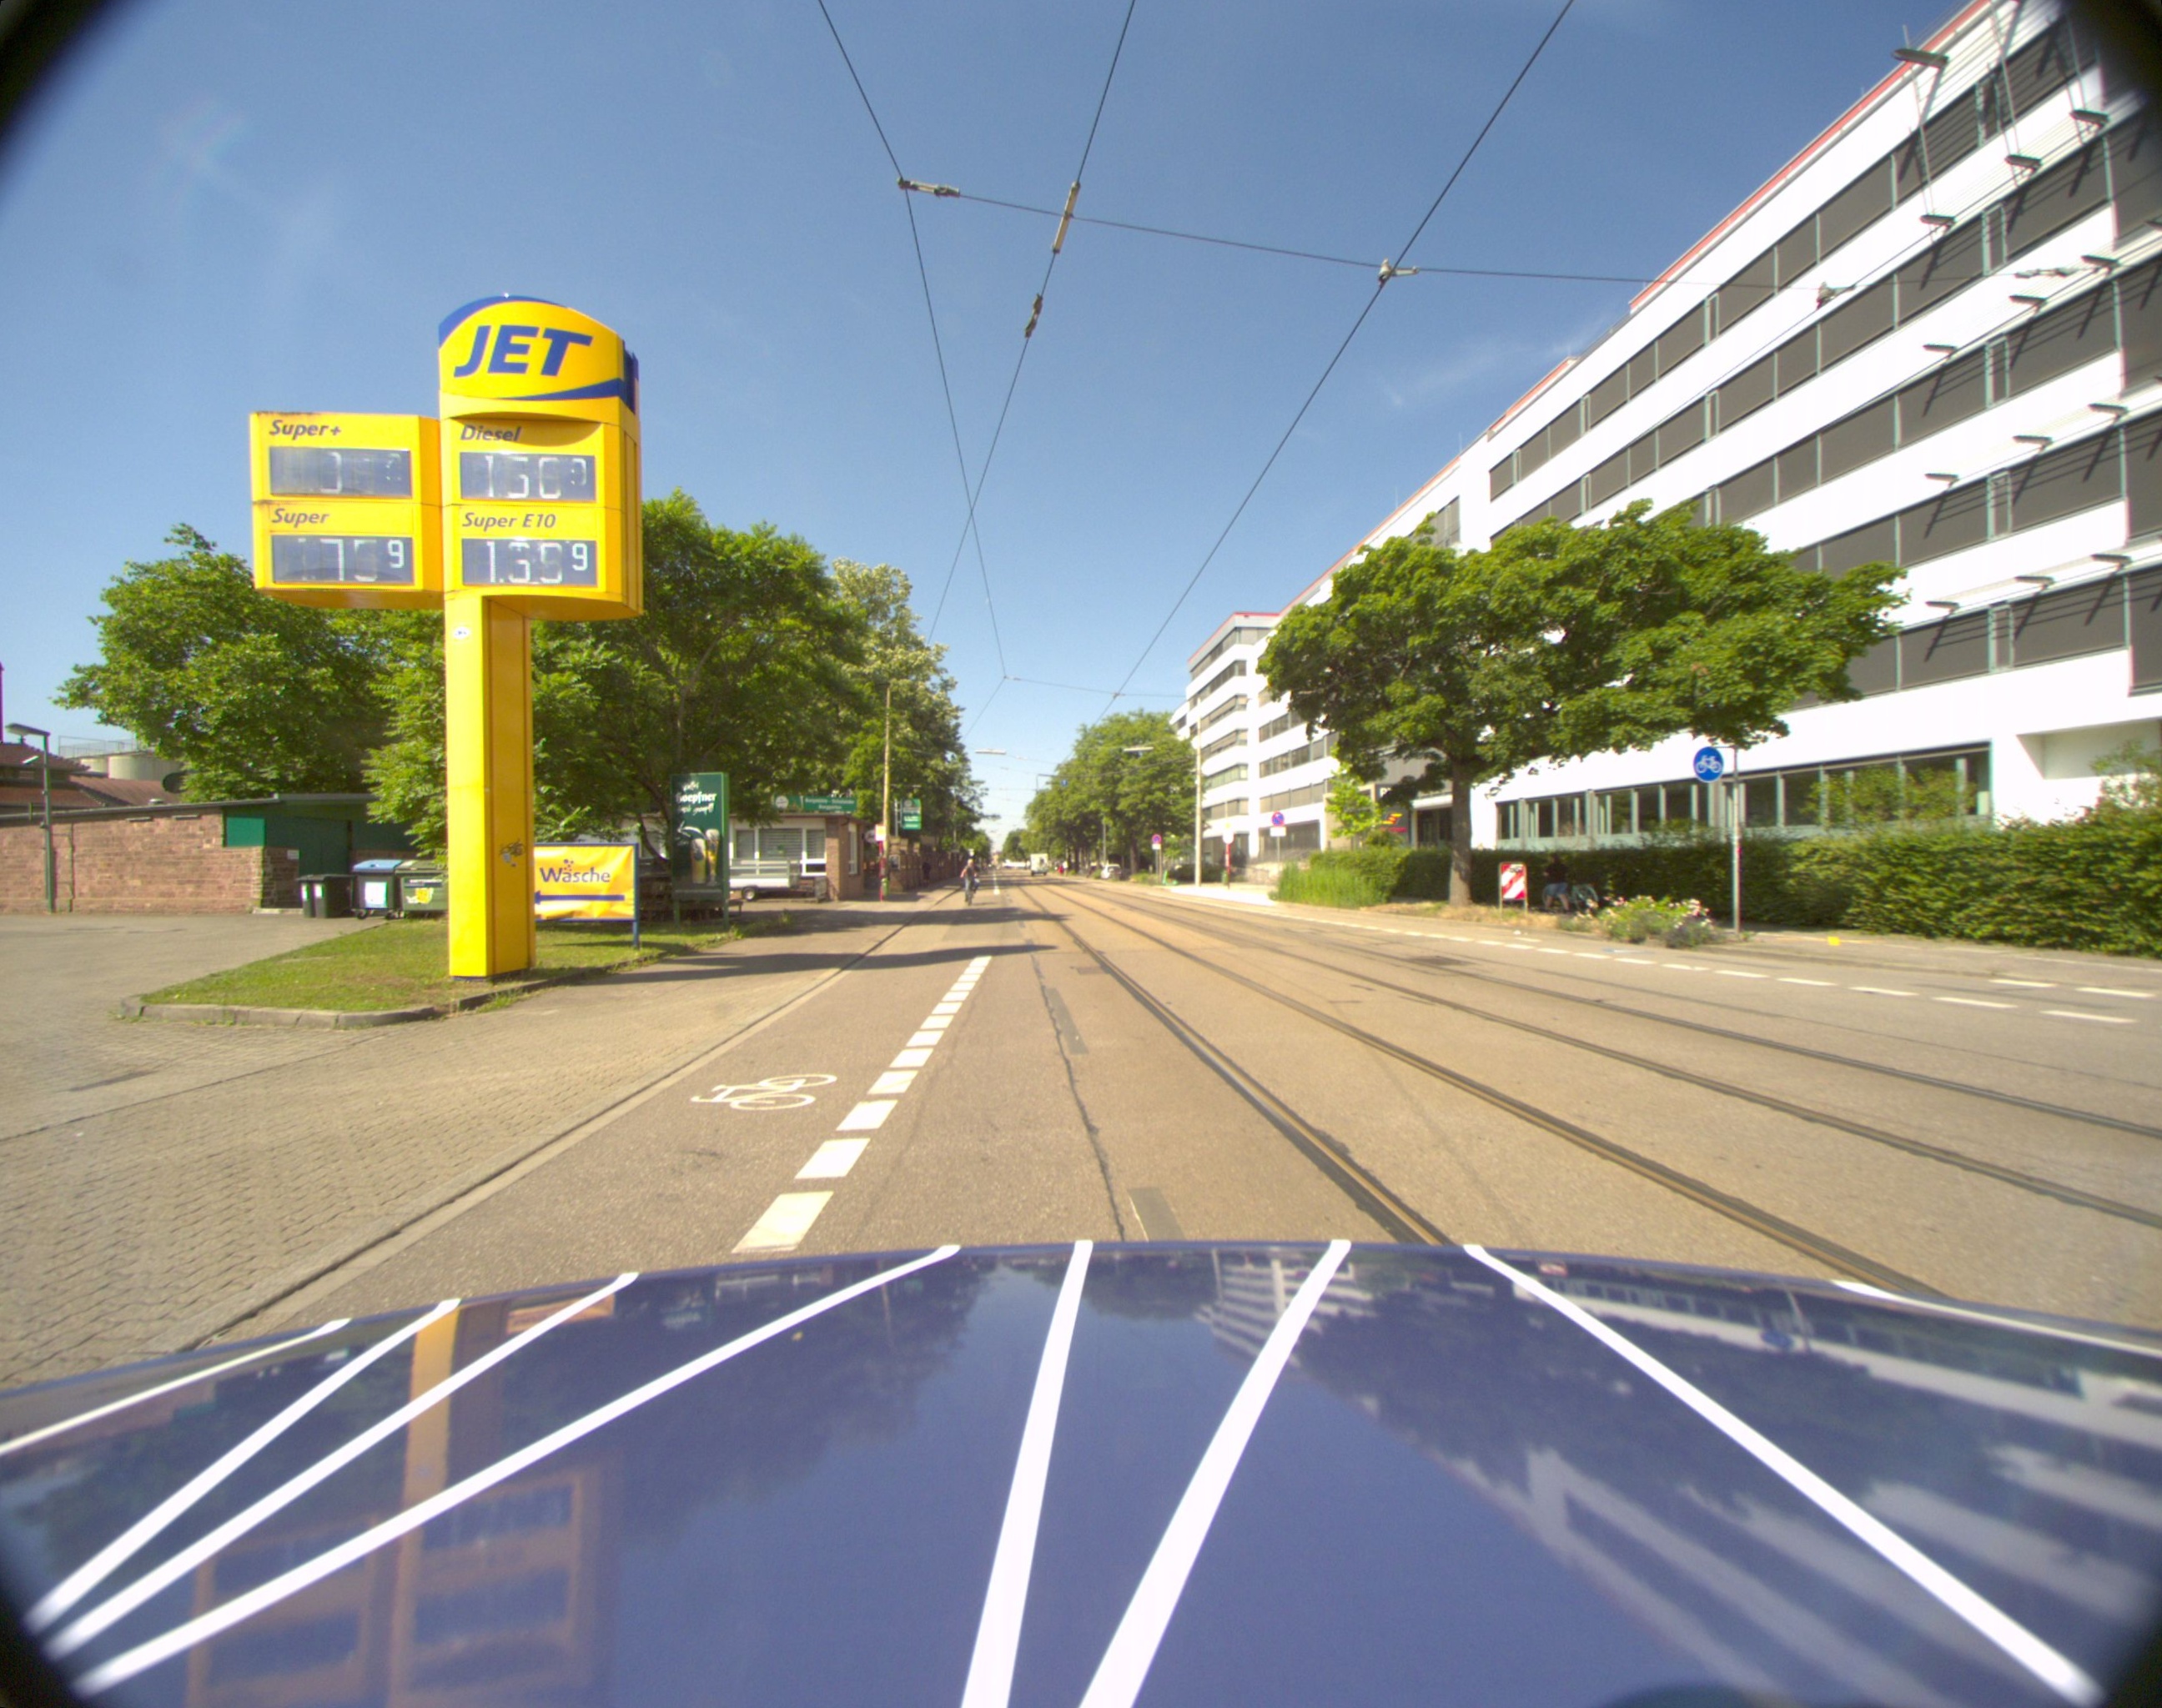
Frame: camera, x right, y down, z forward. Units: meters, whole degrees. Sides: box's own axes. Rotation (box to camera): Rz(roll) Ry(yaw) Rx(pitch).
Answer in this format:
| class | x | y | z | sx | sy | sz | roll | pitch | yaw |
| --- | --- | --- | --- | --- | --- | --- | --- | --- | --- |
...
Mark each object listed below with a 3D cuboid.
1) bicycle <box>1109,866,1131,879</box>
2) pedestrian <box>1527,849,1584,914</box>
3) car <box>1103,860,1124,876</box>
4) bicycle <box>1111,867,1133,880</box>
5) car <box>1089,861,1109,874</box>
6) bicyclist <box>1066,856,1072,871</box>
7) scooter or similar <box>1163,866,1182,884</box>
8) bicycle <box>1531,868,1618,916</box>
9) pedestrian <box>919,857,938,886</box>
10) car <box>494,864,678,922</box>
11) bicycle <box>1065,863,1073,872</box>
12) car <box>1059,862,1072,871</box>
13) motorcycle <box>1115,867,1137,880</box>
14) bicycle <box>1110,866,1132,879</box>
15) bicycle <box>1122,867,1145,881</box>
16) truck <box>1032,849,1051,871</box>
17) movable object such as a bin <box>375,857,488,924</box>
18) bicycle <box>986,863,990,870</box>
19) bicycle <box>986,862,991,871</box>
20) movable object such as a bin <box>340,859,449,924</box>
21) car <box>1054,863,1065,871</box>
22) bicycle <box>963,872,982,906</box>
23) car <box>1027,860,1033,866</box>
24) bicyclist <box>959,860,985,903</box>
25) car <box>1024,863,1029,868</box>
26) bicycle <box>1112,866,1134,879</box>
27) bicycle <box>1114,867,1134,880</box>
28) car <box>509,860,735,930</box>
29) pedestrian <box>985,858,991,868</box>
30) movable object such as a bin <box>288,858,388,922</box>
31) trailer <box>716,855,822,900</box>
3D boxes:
| class | x | y | z | sx | sy | sz | roll | pitch | yaw |
| --- | --- | --- | --- | --- | --- | --- | --- | --- | --- |
| bicycle | 3.537 | 1.648 | 69.346 | 1.910 | 1.162 | 0.818 | -1 | 0 | -6 |
| pedestrian | 11.775 | 0.674 | 18.882 | 0.688 | 1.554 | 0.987 | -2 | 0 | -10 |
| car | 3.100 | 1.321 | 73.291 | 1.634 | 1.463 | 3.629 | 0 | 0 | -5 |
| bicycle | 3.687 | 1.701 | 68.030 | 1.854 | 1.125 | 0.680 | -1 | 0 | -6 |
| car | 2.015 | 1.526 | 85.791 | 1.635 | 1.474 | 4.270 | 0 | 0 | -8 |
| bicyclist | -1.476 | 1.198 | 94.217 | 0.638 | 1.860 | 1.024 | -1 | 0 | -6 |
| scooter or similar | 6.017 | 1.362 | 49.836 | 1.129 | 1.159 | 0.675 | -1 | 0 | -3 |
| bicycle | 12.248 | 0.919 | 18.931 | 0.638 | 1.111 | 2.066 | 0 | -1 | -7 |
| pedestrian | -9.845 | 1.145 | 49.162 | 0.979 | 1.805 | 1.184 | 3 | -1 | -5 |
| car | -14.010 | 1.024 | 21.693 | 1.842 | 1.465 | 4.009 | 0 | 0 | 38 |
| bicycle | -1.473 | 1.670 | 94.123 | 0.858 | 1.103 | 2.138 | 0 | 0 | -6 |
| car | -2.548 | 2.067 | 124.695 | 1.635 | 1.463 | 3.717 | -1 | 0 | -8 |
| motorcycle | 3.859 | 1.660 | 65.217 | 1.729 | 1.079 | 0.658 | -1 | 0 | -6 |
| bicycle | 3.601 | 1.660 | 68.703 | 1.878 | 1.135 | 0.685 | -1 | 0 | -6 |
| bicycle | 4.352 | 1.646 | 63.047 | 1.729 | 1.079 | 0.789 | -1 | 0 | -6 |
| truck | -5.543 | 0.850 | 105.935 | 2.410 | 3.090 | 6.034 | 0 | -1 | -6 |
| movable object such as a bin | -15.062 | 0.823 | 17.679 | 1.421 | 1.493 | 1.379 | 0 | 0 | -3 |
| bicycle | -15.095 | 2.016 | 123.684 | 0.593 | 1.099 | 2.053 | 0 | 0 | -5 |
| bicycle | -19.707 | 2.612 | 161.478 | 1.000 | 1.733 | 3.161 | -2 | 0 | -6 |
| movable object such as a bin | -16.589 | 0.883 | 18.405 | 1.420 | 1.493 | 1.381 | 0 | 0 | 10 |
| car | -3.860 | 2.318 | 134.633 | 1.635 | 1.347 | 3.899 | -1 | -1 | -8 |
| bicycle | -4.162 | 1.322 | 29.325 | 0.612 | 1.190 | 2.122 | -3 | 0 | -7 |
| car | -15.972 | 2.926 | 239.238 | 1.635 | 1.935 | 4.112 | -1 | 0 | -6 |
| bicyclist | -4.161 | 1.032 | 29.082 | 0.906 | 1.586 | 0.964 | -1 | 0 | -6 |
| car | -18.516 | 3.865 | 259.916 | 1.635 | 1.559 | 4.112 | -1 | -1 | -6 |
| bicycle | 3.722 | 1.624 | 67.501 | 1.798 | 1.079 | 0.726 | -1 | 0 | -6 |
| bicycle | 3.768 | 1.686 | 66.615 | 1.729 | 1.079 | 0.639 | -1 | 0 | -6 |
| car | -11.867 | 0.965 | 19.957 | 2.014 | 1.631 | 4.670 | 0 | 0 | 38 |
| pedestrian | -19.844 | 1.916 | 161.645 | 1.107 | 2.002 | 1.165 | -2 | 0 | -6 |
| movable object such as a bin | -18.448 | 0.883 | 18.895 | 1.327 | 1.493 | 1.333 | -2 | 0 | 23 |
| trailer | -11.612 | 0.858 | 28.426 | 3.283 | 1.593 | 1.723 | 0 | 0 | -4 |
